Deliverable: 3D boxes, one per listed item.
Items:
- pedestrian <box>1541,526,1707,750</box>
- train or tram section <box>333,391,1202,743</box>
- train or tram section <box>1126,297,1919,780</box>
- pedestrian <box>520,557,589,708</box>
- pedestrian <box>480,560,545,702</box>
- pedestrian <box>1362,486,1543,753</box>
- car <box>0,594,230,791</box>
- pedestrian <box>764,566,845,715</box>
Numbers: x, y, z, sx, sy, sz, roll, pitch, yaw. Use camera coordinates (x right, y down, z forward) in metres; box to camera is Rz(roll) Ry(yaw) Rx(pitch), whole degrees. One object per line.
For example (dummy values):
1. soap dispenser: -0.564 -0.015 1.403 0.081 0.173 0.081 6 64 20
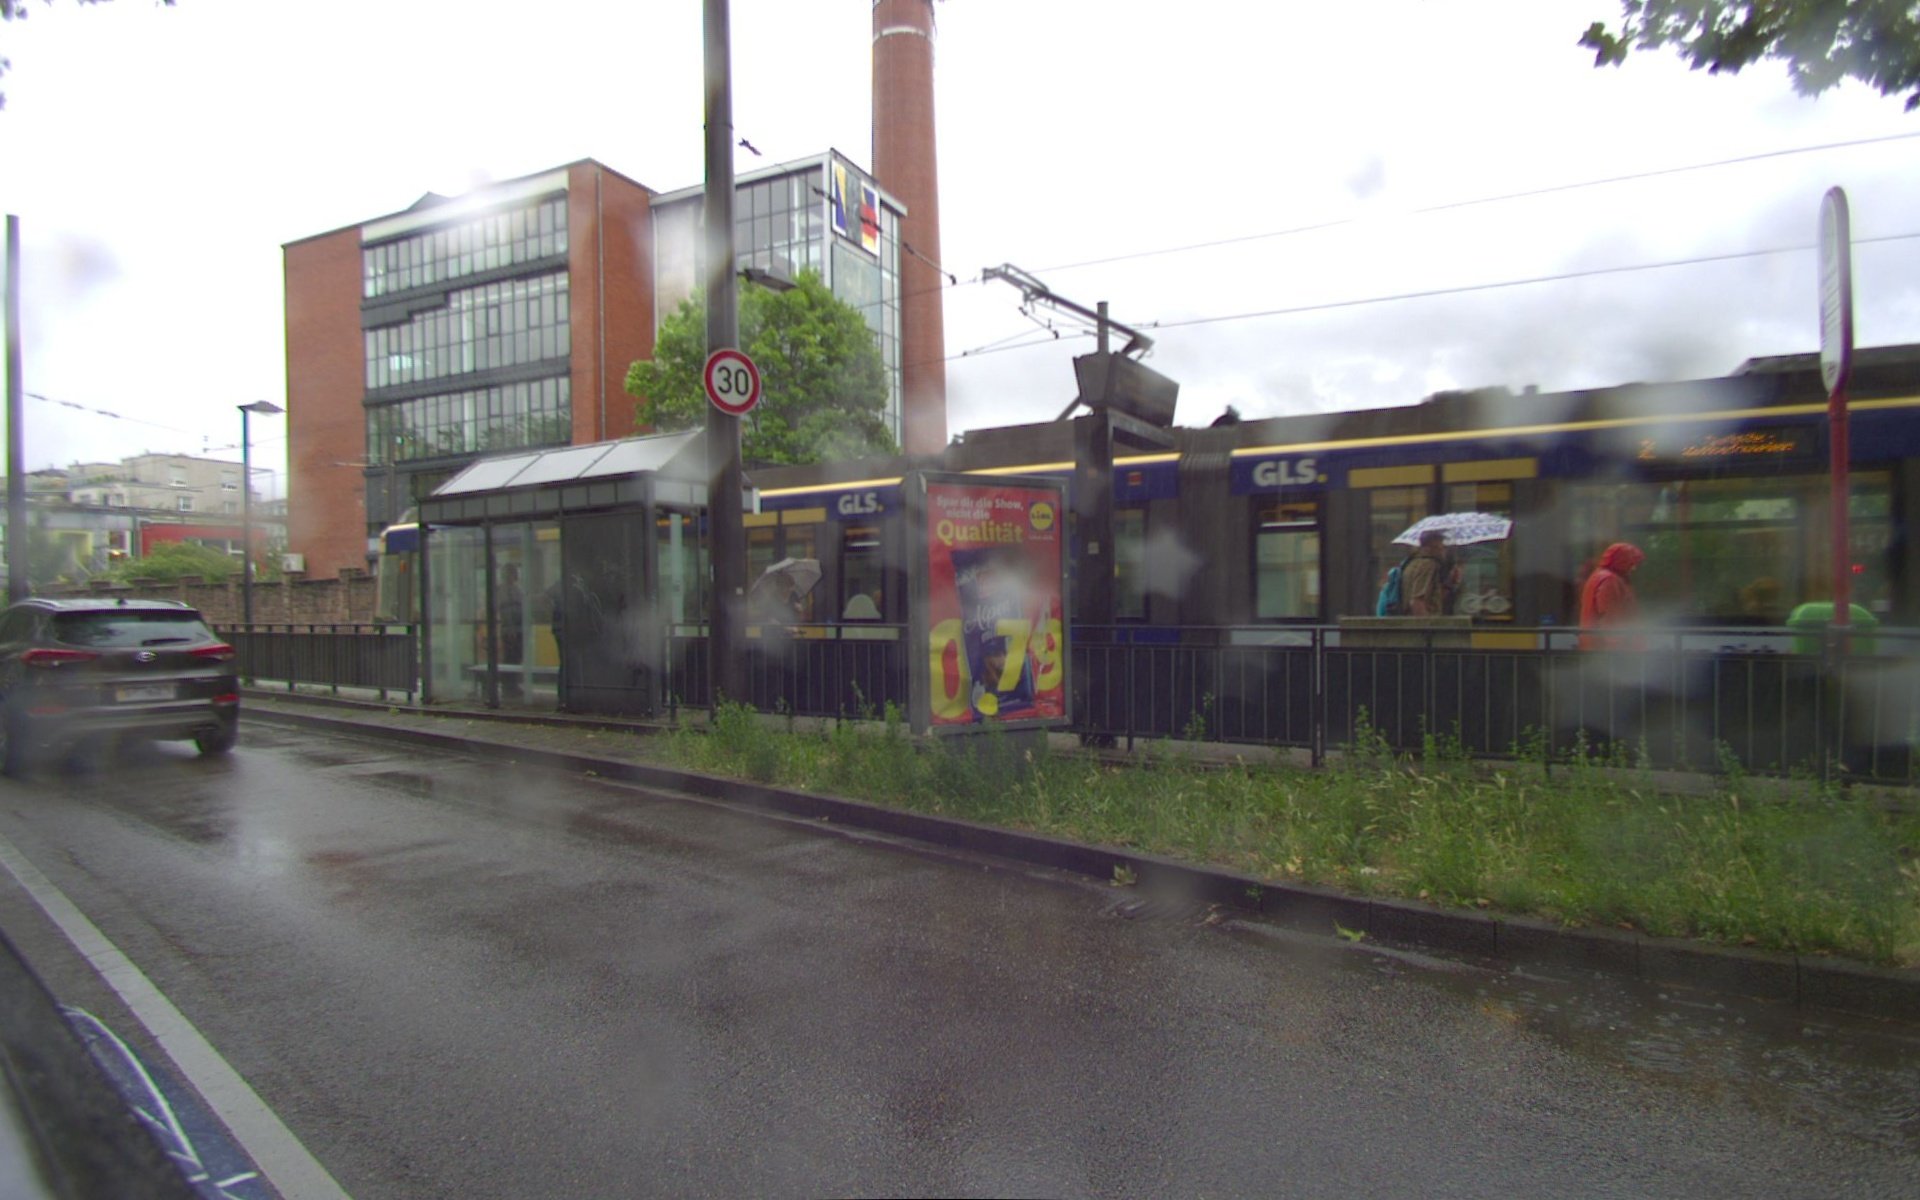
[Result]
1. pedestrian: 4.985 0.292 7.653 0.651 1.584 0.797 -2 -3 4
2. train or tram section: -4.201 -0.224 15.581 15.323 3.572 2.838 -1 0 32
3. train or tram section: 8.400 -0.478 8.404 13.650 3.572 2.843 -1 0 28
4. pedestrian: -4.917 0.379 12.267 0.620 1.762 0.565 -1 0 -41
5. pedestrian: -5.747 0.386 13.001 0.620 1.762 0.515 -1 0 -41
6. pedestrian: 3.730 0.173 7.650 1.072 1.840 0.975 -4 -4 30
7. car: -9.545 0.844 10.817 4.600 1.695 1.785 -2 -1 40
8. pedestrian: -1.748 0.458 11.414 0.504 1.610 0.790 -4 -4 30
